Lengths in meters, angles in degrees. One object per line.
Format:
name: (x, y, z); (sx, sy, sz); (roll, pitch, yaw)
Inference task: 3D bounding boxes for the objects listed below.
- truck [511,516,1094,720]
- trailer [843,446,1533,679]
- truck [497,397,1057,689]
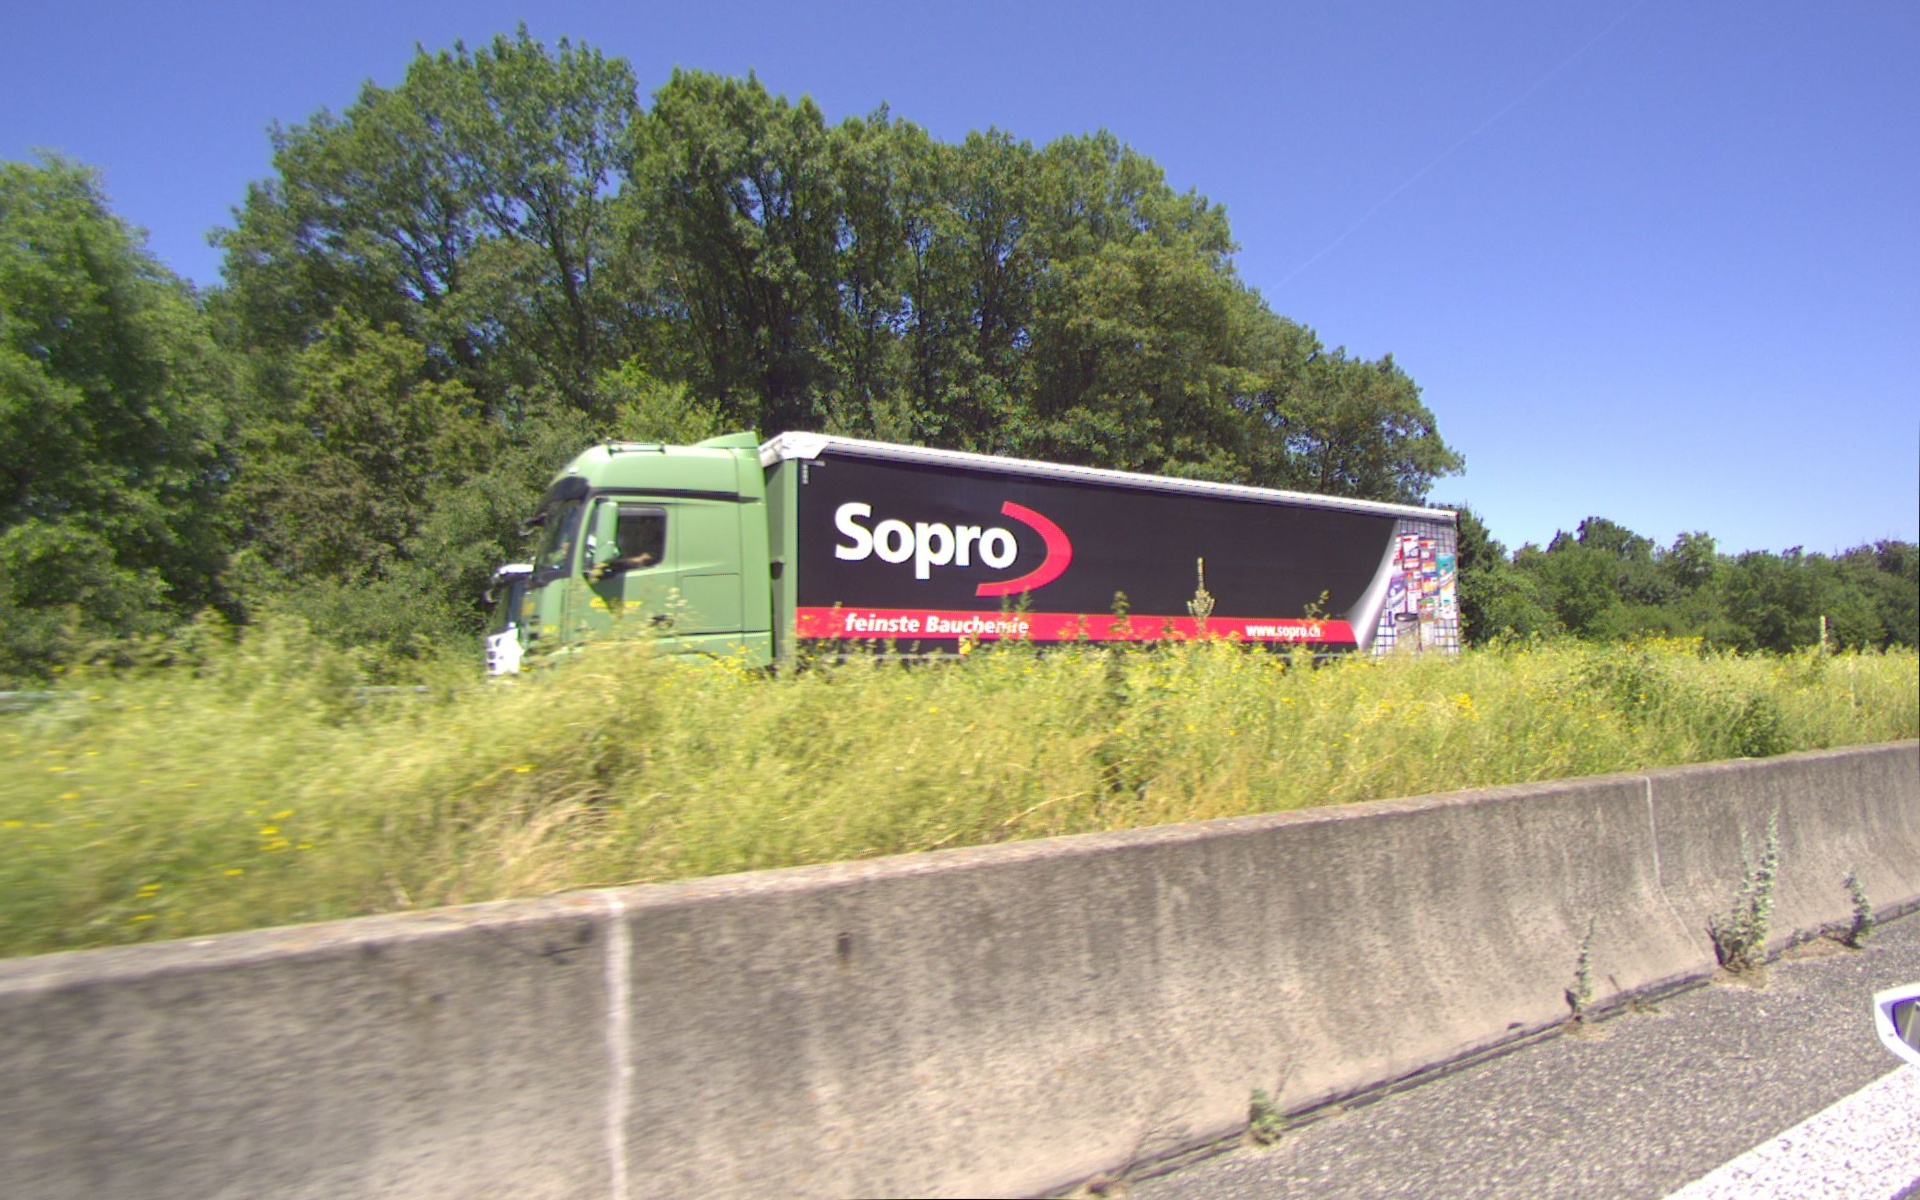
truck: (-2.456, 0.417, 18.511); (10.365, 2.981, 2.674); (2, -2, -31)
trailer: (4.907, -0.292, 17.756); (14.070, 3.008, 2.629); (2, -2, -31)
truck: (-2.248, -0.492, 13.404); (6.892, 3.048, 2.594); (2, -2, -31)
